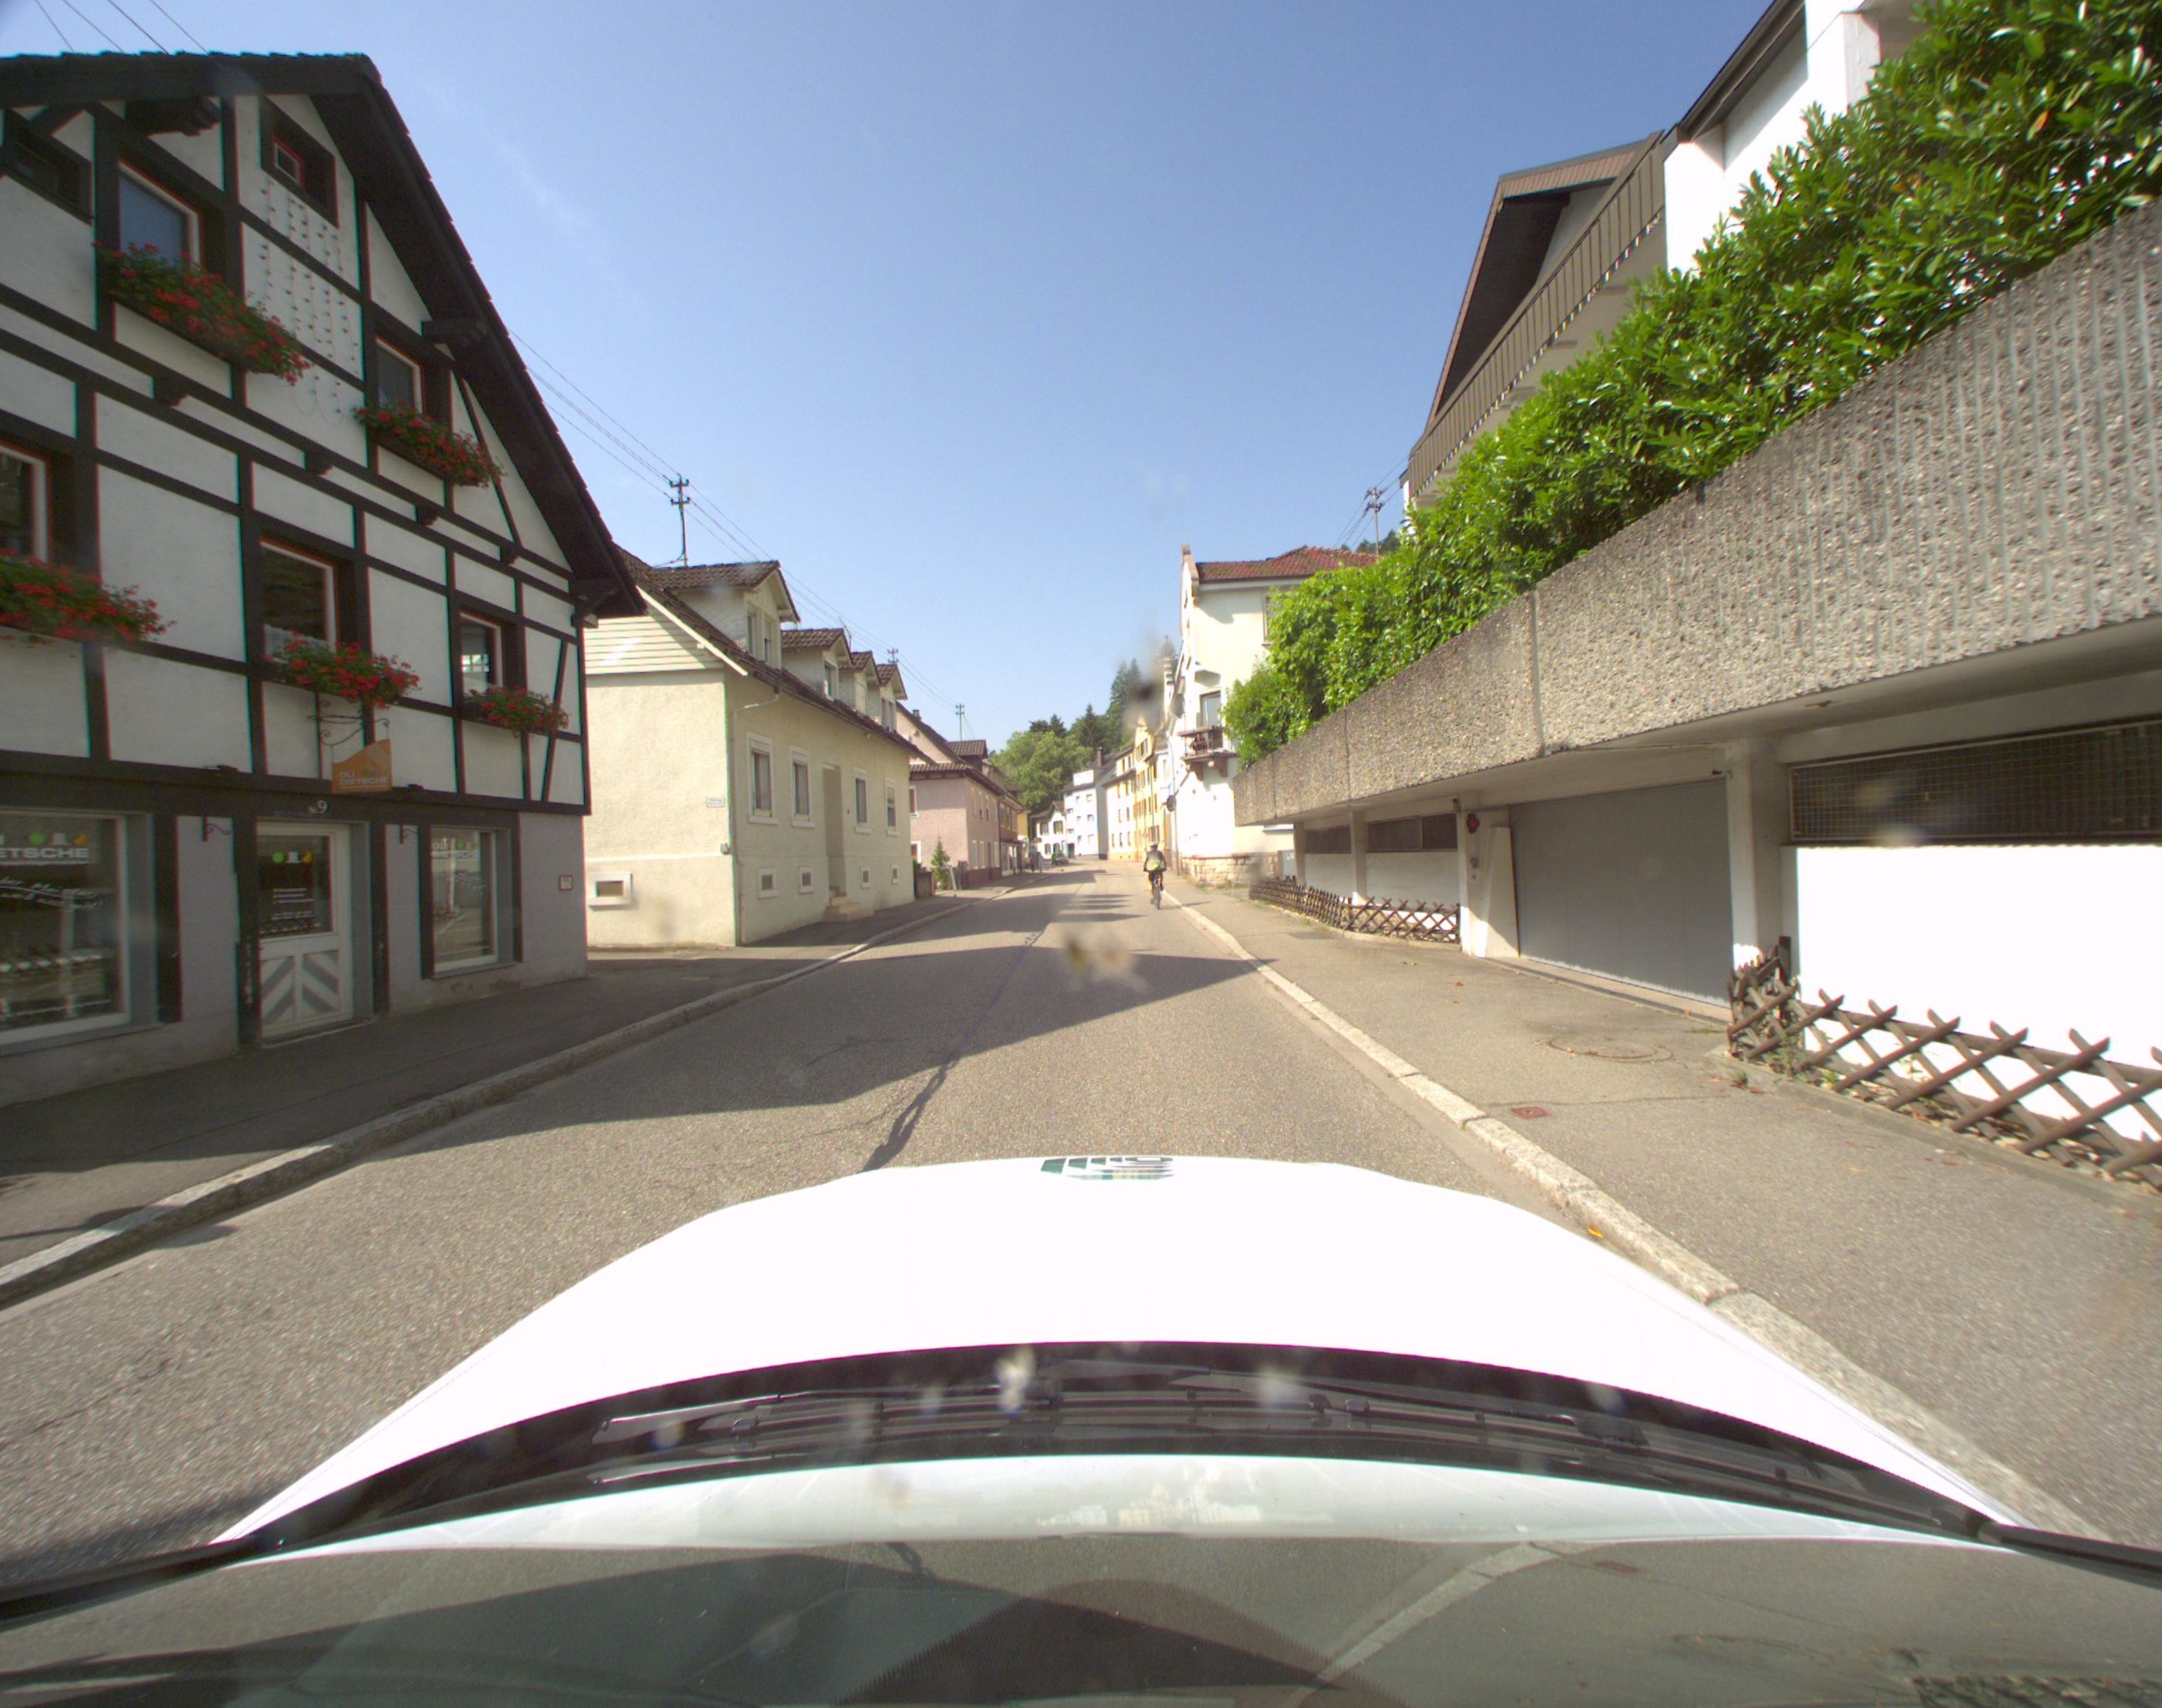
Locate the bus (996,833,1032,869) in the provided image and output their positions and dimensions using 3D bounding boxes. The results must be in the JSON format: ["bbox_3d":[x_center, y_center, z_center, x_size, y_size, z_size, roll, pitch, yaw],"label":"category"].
[{"bbox_3d":[-6.460,-0.289,79.396,2.812,3.228,9.032,-1,0,-1],"label":"bus"}]

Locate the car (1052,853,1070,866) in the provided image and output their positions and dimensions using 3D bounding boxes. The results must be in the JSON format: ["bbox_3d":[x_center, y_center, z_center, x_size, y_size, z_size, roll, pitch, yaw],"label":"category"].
[{"bbox_3d":[-2.447,0.690,97.888,1.597,1.464,3.647,-5,0,-10],"label":"car"}]

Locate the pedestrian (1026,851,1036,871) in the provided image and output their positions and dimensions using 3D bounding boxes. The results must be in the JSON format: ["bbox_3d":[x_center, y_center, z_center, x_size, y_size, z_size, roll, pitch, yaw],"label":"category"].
[{"bbox_3d":[-4.071,0.565,66.778,0.732,1.564,0.825,1,0,2],"label":"pedestrian"}]

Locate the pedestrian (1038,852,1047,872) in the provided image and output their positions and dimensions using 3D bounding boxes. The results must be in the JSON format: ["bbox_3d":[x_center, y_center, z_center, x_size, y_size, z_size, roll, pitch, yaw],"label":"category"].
[{"bbox_3d":[-3.177,0.664,66.797,0.637,1.626,0.777,1,0,2],"label":"pedestrian"}]

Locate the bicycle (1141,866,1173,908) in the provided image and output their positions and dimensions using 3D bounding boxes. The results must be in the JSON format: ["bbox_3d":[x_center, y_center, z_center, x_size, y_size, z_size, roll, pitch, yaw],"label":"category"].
[{"bbox_3d":[2.034,0.873,21.954,0.696,1.035,1.471,-2,0,1],"label":"bicycle"}]

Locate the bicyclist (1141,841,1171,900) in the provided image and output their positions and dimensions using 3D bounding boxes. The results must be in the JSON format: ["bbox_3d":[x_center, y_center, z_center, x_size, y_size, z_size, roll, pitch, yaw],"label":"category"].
[{"bbox_3d":[2.004,0.428,21.840,0.683,1.531,0.715,-3,0,0],"label":"bicyclist"}]
